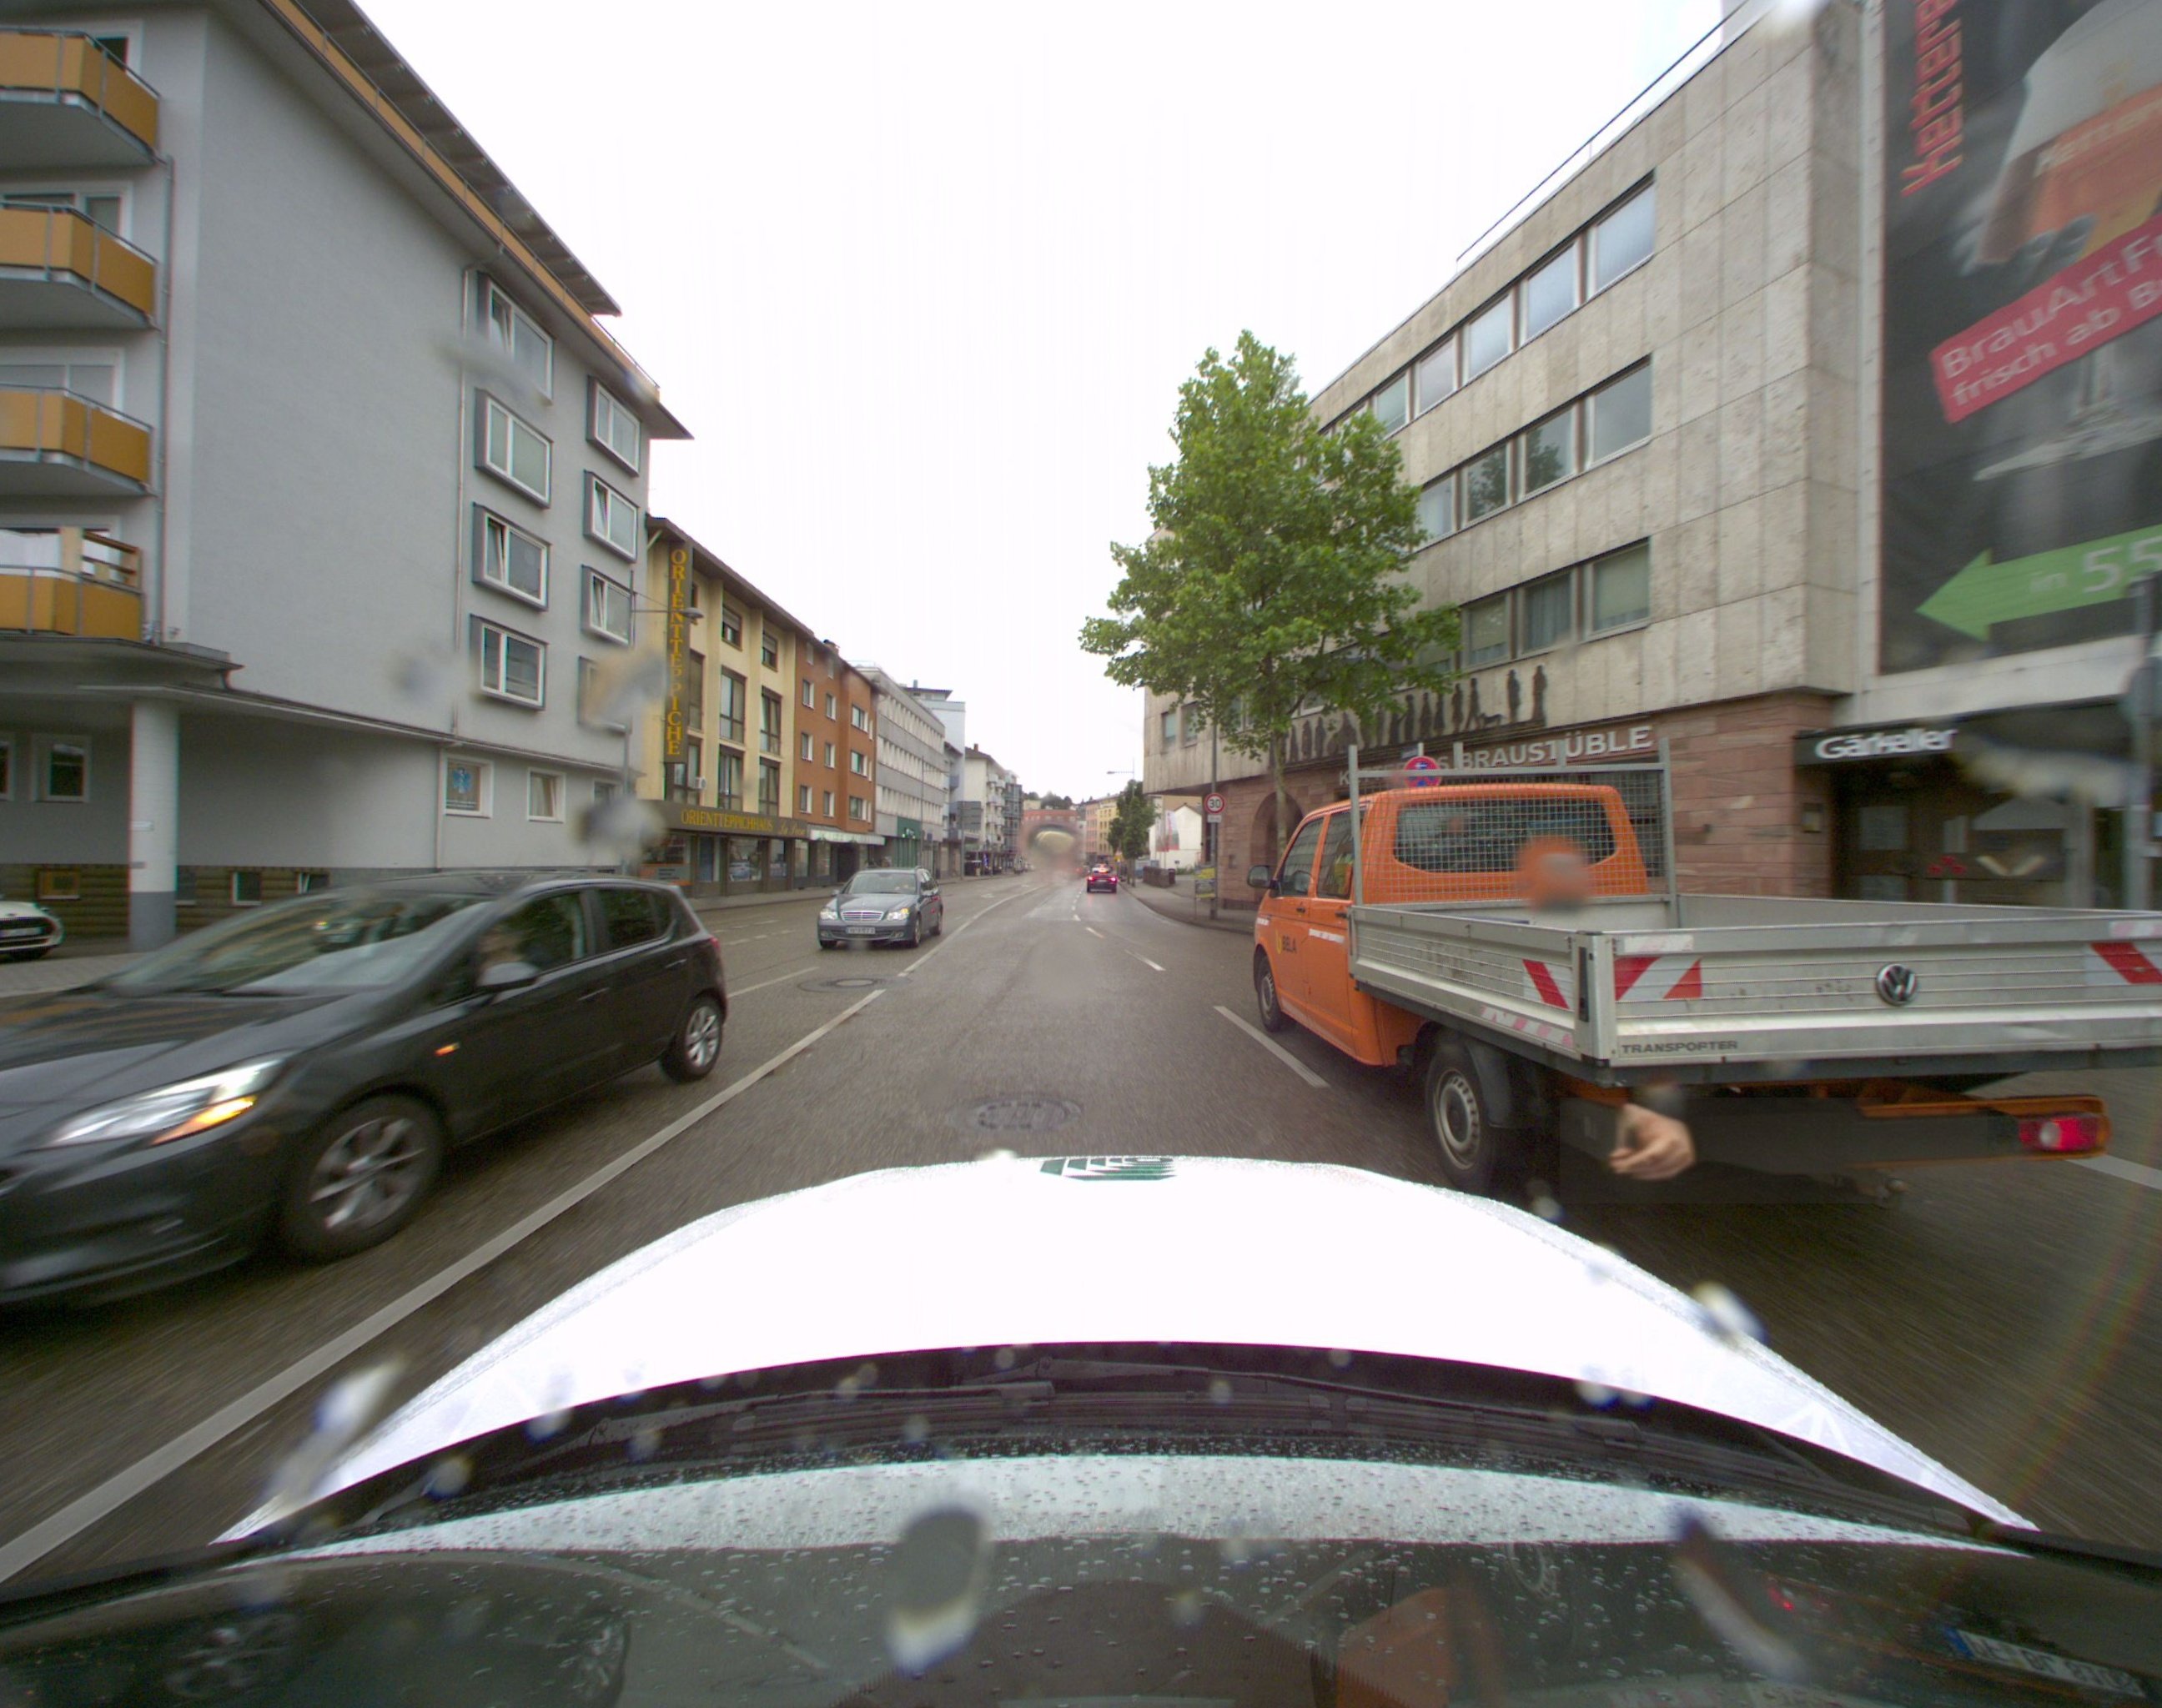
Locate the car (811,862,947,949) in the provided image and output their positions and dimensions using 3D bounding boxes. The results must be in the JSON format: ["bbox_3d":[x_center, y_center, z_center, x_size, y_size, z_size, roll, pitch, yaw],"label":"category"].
[{"bbox_3d":[-3.779,0.888,15.990,1.728,1.440,4.409,-1,-1,-3],"label":"car"}]

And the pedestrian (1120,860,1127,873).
[{"bbox_3d":[5.822,1.747,110.611,0.785,1.755,0.875,-1,-1,14],"label":"pedestrian"}]

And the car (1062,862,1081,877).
[{"bbox_3d":[-1.020,1.683,90.574,1.816,1.600,3.720,2,0,2],"label":"car"}]

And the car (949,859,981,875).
[{"bbox_3d":[-15.355,1.695,108.083,3.948,2.034,1.581,0,-1,2],"label":"car"}]

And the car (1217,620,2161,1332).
[{"bbox_3d":[2.427,0.367,5.249,2.095,2.089,5.540,-2,0,0],"label":"car"}]

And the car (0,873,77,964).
[{"bbox_3d":[-17.833,1.041,12.196,3.612,1.338,1.495,-2,0,-1],"label":"car"}]

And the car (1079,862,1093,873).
[{"bbox_3d":[0.635,1.681,102.639,1.635,1.381,3.348,-1,-1,0],"label":"car"}]

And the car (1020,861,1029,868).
[{"bbox_3d":[-12.892,2.371,185.743,1.455,1.430,3.359,2,0,-10],"label":"car"}]

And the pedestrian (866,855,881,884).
[{"bbox_3d":[-13.127,0.984,51.571,0.573,1.788,0.827,4,-1,1],"label":"pedestrian"}]

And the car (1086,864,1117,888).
[{"bbox_3d":[1.236,1.350,51.100,1.784,1.403,4.631,0,0,-1],"label":"car"}]

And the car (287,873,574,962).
[{"bbox_3d":[-11.379,1.035,14.701,1.721,1.366,4.112,0,-2,3],"label":"car"}]

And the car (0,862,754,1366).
[{"bbox_3d":[-3.517,0.793,4.454,1.637,1.453,3.993,0,0,3],"label":"car"}]

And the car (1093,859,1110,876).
[{"bbox_3d":[2.468,1.603,96.013,1.823,1.805,3.722,2,0,3],"label":"car"}]

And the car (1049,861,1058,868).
[{"bbox_3d":[-6.110,2.378,182.801,1.718,1.423,4.156,-2,-1,-6],"label":"car"}]

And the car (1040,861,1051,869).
[{"bbox_3d":[-6.980,2.201,161.230,1.701,1.468,4.831,-2,-1,2],"label":"car"}]

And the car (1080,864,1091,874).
[{"bbox_3d":[0.670,2.287,125.397,1.635,1.381,3.348,-1,-1,0],"label":"car"}]

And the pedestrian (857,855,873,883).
[{"bbox_3d":[-13.713,0.936,51.640,0.628,1.675,0.908,5,-1,0],"label":"pedestrian"}]

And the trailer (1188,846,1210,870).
[{"bbox_3d":[14.322,0.499,99.278,2.118,2.716,5.396,-2,0,4],"label":"trailer"}]
